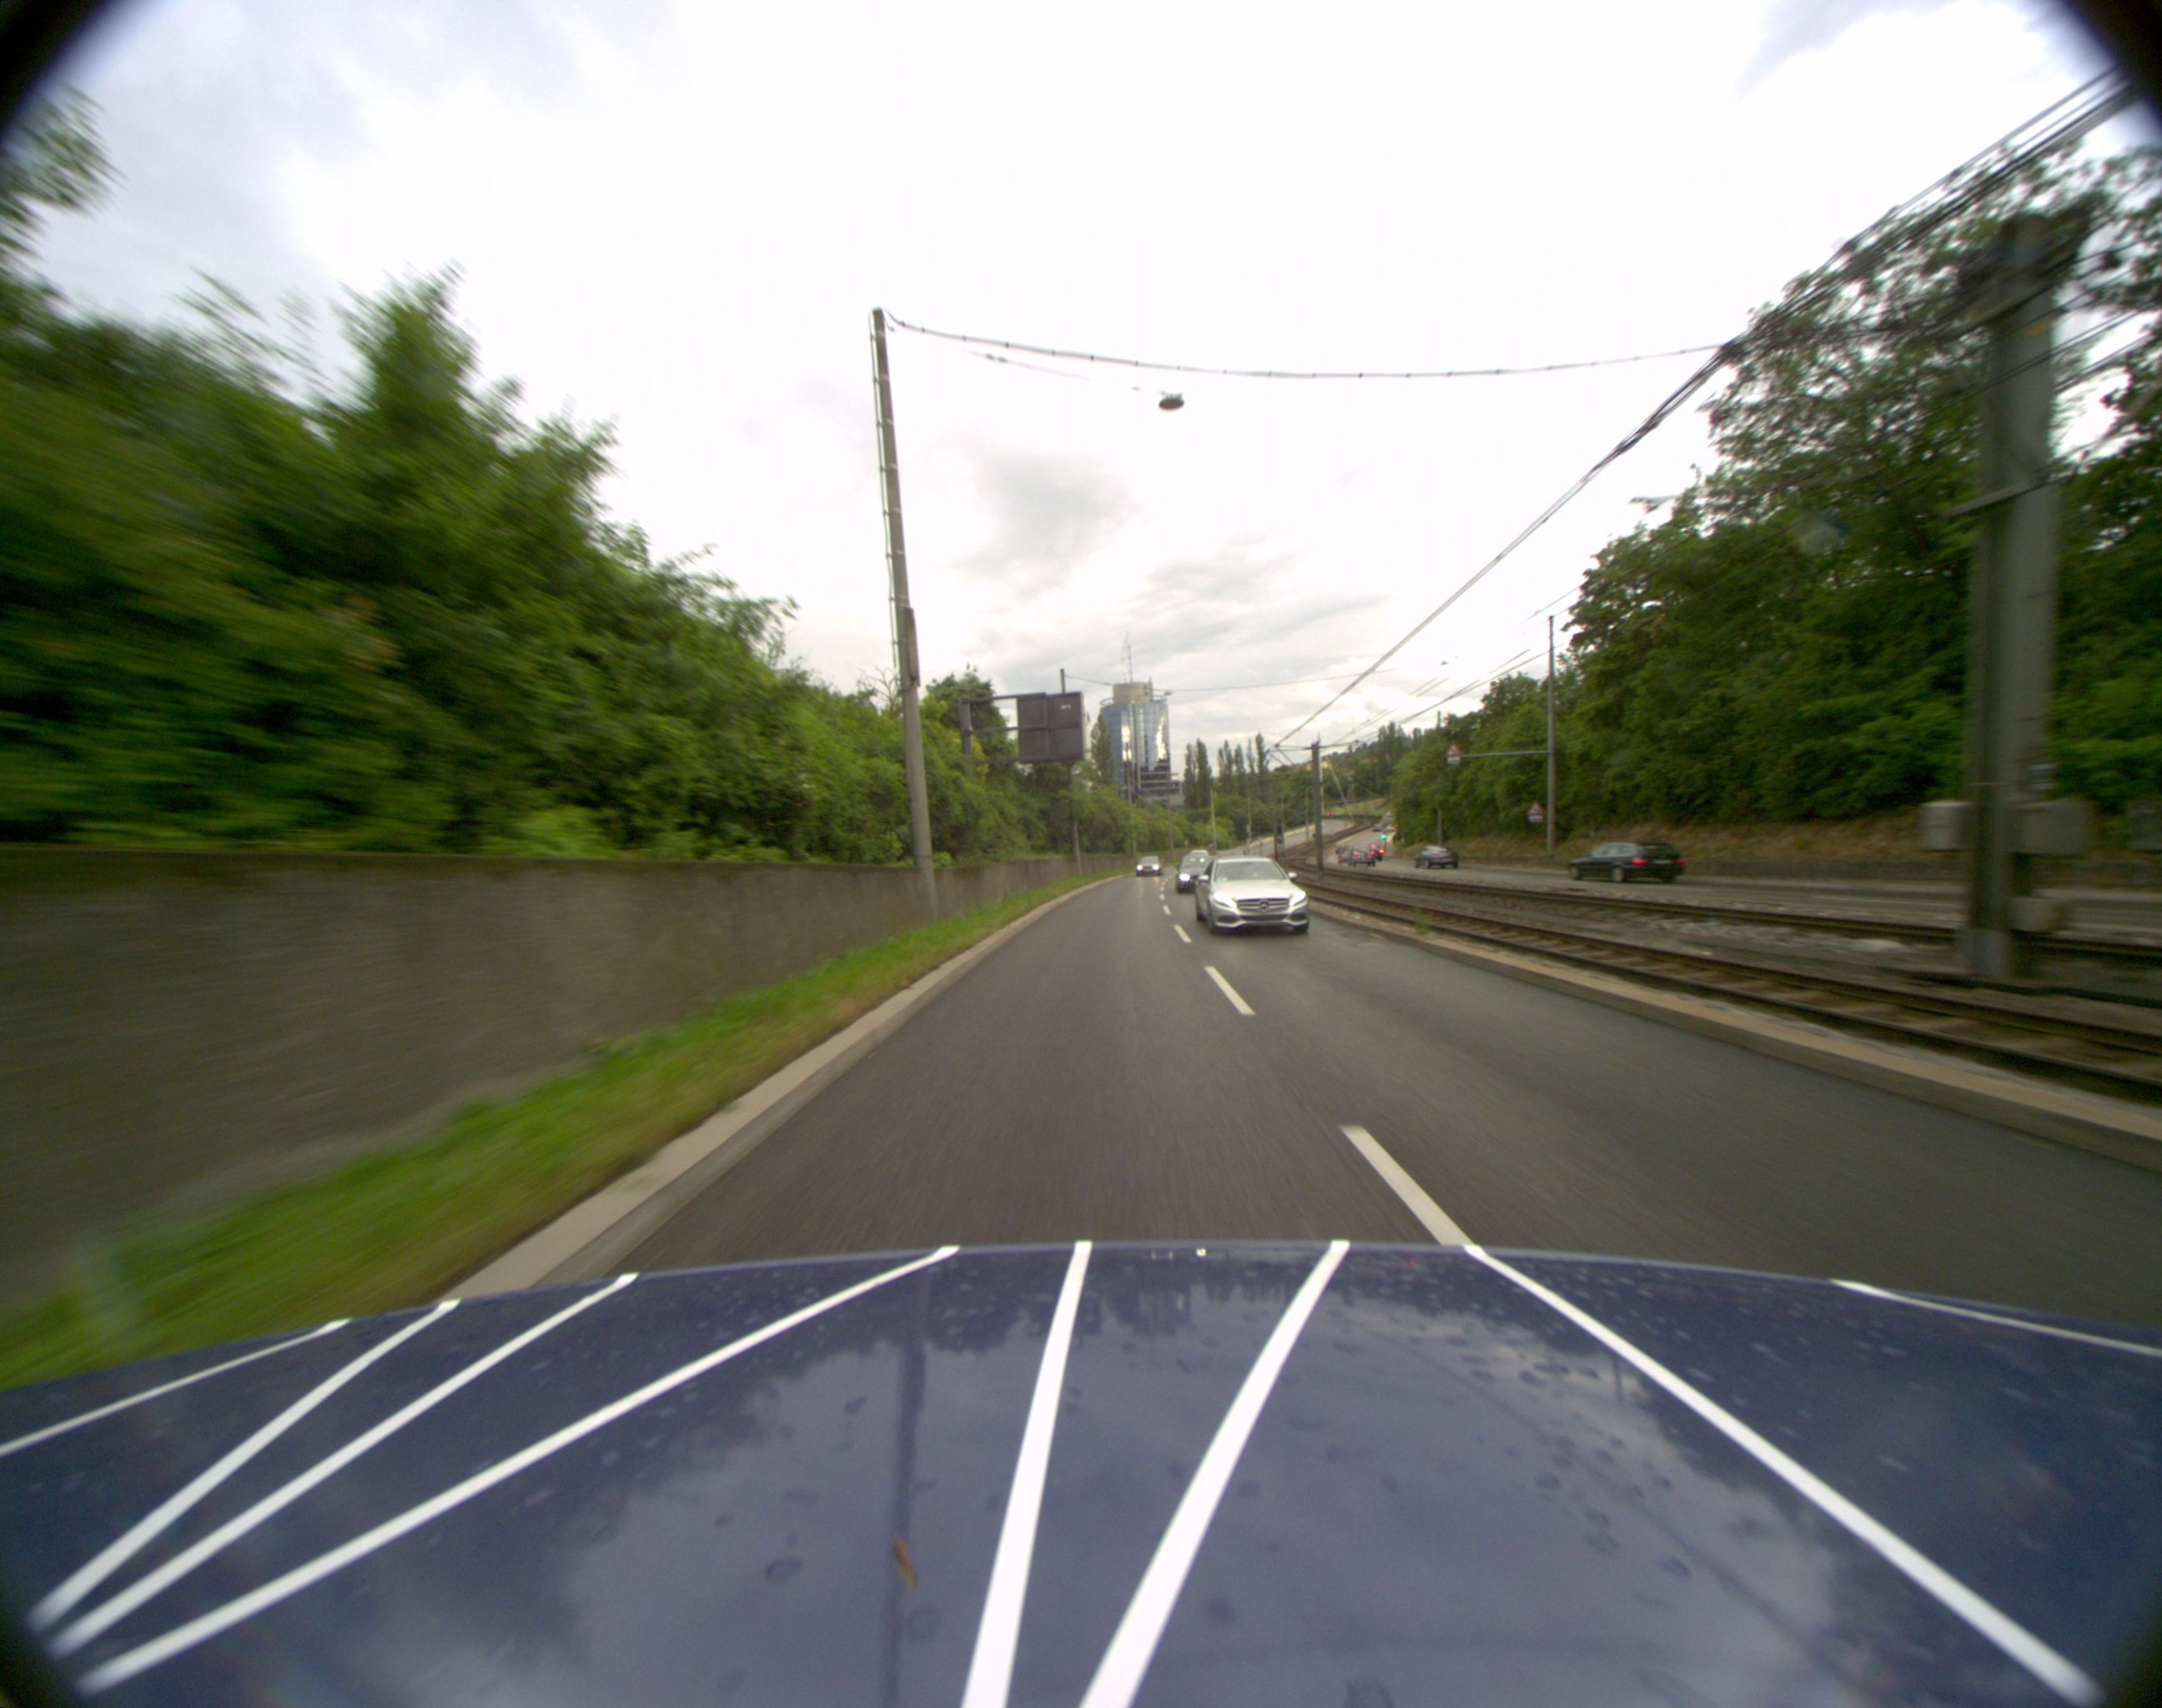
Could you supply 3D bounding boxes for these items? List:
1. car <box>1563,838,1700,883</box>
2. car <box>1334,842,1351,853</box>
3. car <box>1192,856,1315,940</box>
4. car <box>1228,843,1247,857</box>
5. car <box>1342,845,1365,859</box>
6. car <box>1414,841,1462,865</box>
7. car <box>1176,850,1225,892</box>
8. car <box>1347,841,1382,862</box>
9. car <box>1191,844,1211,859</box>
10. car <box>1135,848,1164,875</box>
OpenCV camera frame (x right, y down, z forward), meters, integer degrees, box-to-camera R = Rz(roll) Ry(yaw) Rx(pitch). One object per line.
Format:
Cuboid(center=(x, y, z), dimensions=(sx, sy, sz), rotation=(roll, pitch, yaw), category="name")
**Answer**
Cuboid(center=(18.983, 0.200, 26.477), dimensions=(1.897, 1.373, 4.454), rotation=(-2, 0, 7), category="car")
Cuboid(center=(39.302, -1.011, 114.115), dimensions=(2.212, 1.449, 4.468), rotation=(-3, 0, 20), category="car")
Cuboid(center=(3.359, 0.793, 15.613), dimensions=(1.860, 1.395, 4.316), rotation=(-1, 1, 5), category="car")
Cuboid(center=(22.572, -0.605, 109.520), dimensions=(1.996, 2.002, 4.500), rotation=(-2, 0, 19), category="car")
Cuboid(center=(24.653, -0.184, 68.865), dimensions=(1.665, 1.193, 4.467), rotation=(-3, 0, 16), category="car")
Cuboid(center=(22.296, -0.072, 47.628), dimensions=(1.804, 1.415, 4.466), rotation=(-1, 0, 13), category="car")
Cuboid(center=(4.660, 0.608, 29.943), dimensions=(1.729, 1.462, 3.889), rotation=(-3, 0, 7), category="car")
Cuboid(center=(21.452, -0.197, 57.663), dimensions=(1.908, 1.449, 4.466), rotation=(-2, 0, 12), category="car")
Cuboid(center=(15.103, -0.379, 95.770), dimensions=(1.808, 1.502, 4.003), rotation=(-4, 3, 18), category="car")
Cuboid(center=(4.900, 0.494, 53.947), dimensions=(1.809, 1.502, 4.000), rotation=(-4, 3, 7), category="car")
